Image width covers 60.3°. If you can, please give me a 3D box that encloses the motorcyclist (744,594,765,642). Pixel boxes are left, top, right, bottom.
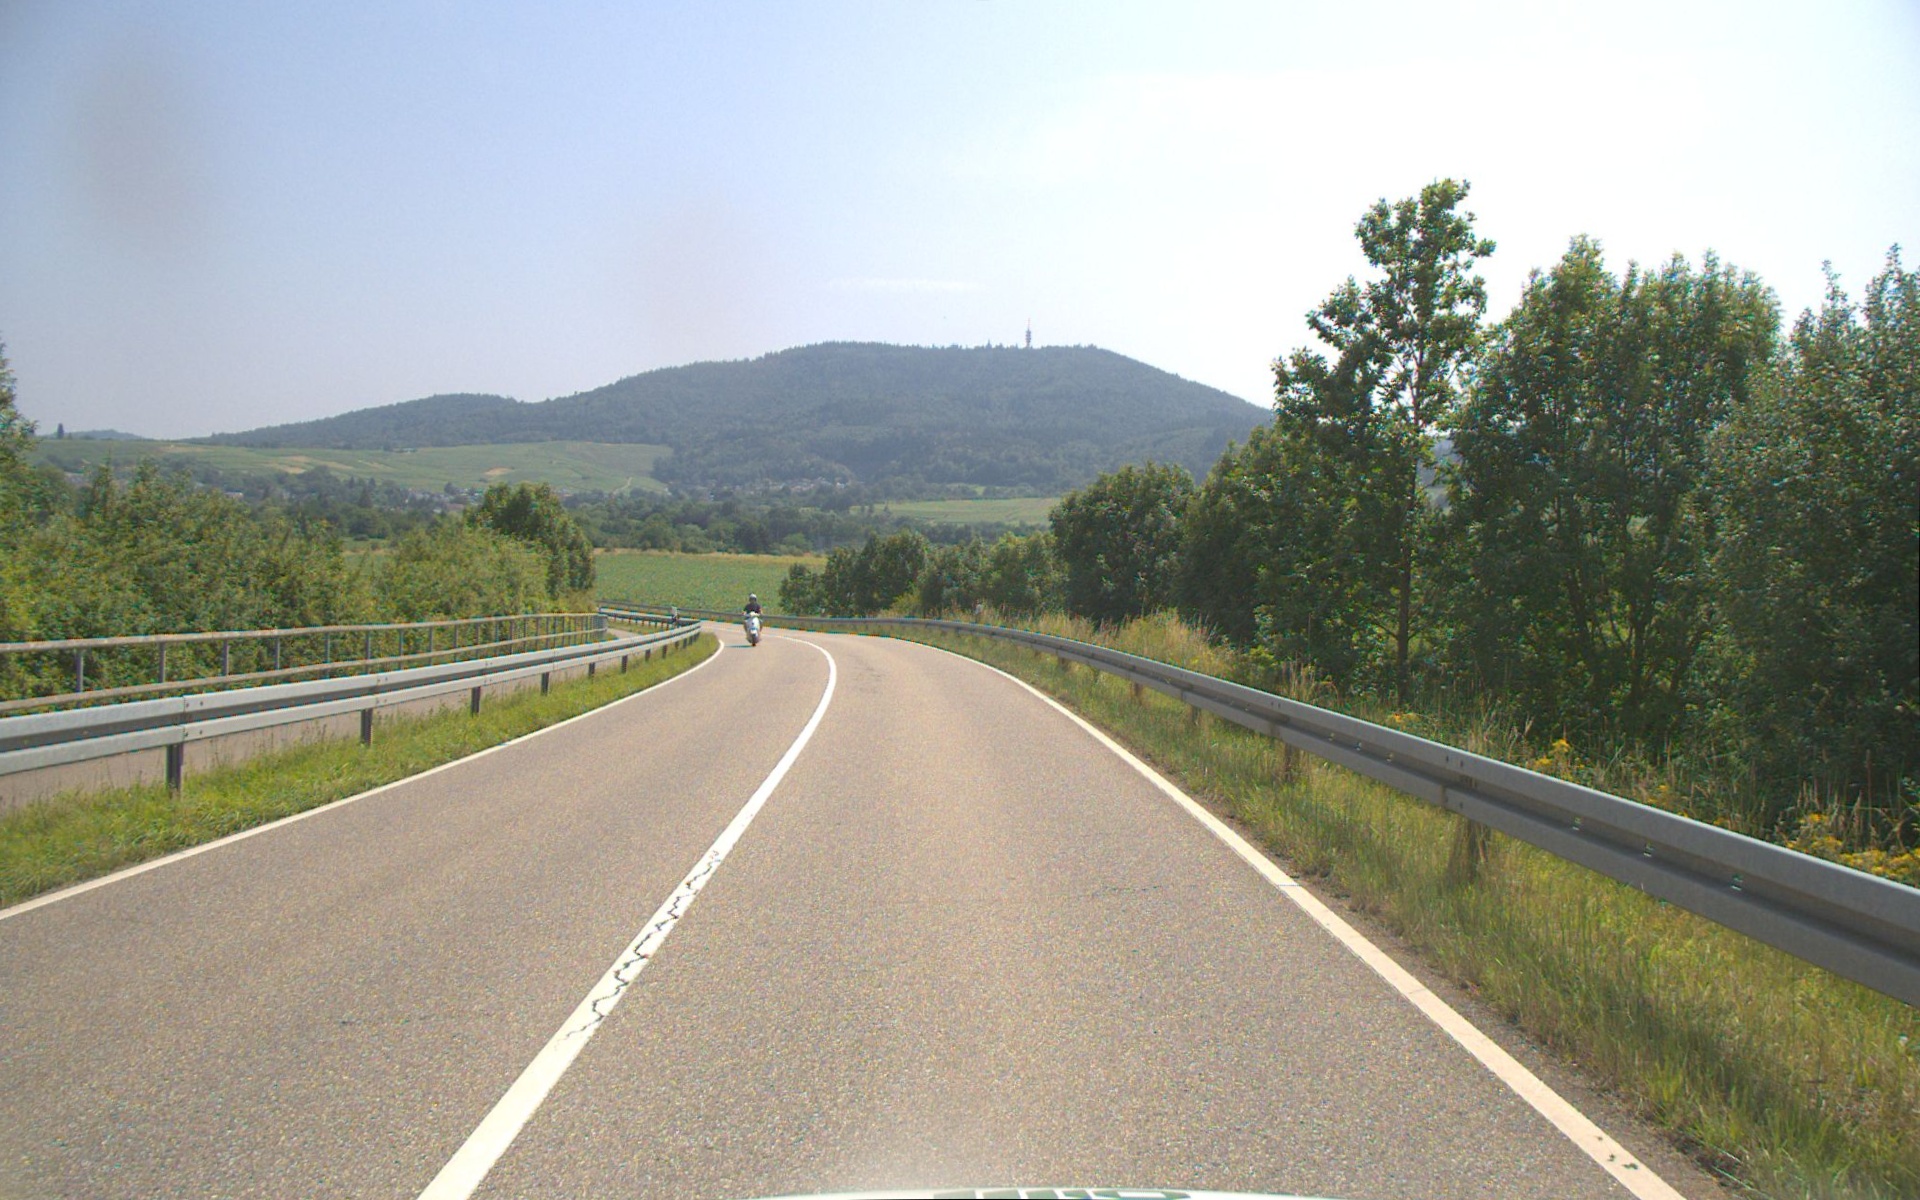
[{"bbox_3d":[-6.948,0.611,55.958,0.642,1.590,0.774,-2,0,-7],"label":"motorcyclist"}]

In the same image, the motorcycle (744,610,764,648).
[{"bbox_3d":[-6.949,0.983,55.938,0.631,1.245,1.636,-2,0,-7],"label":"motorcycle"}]
